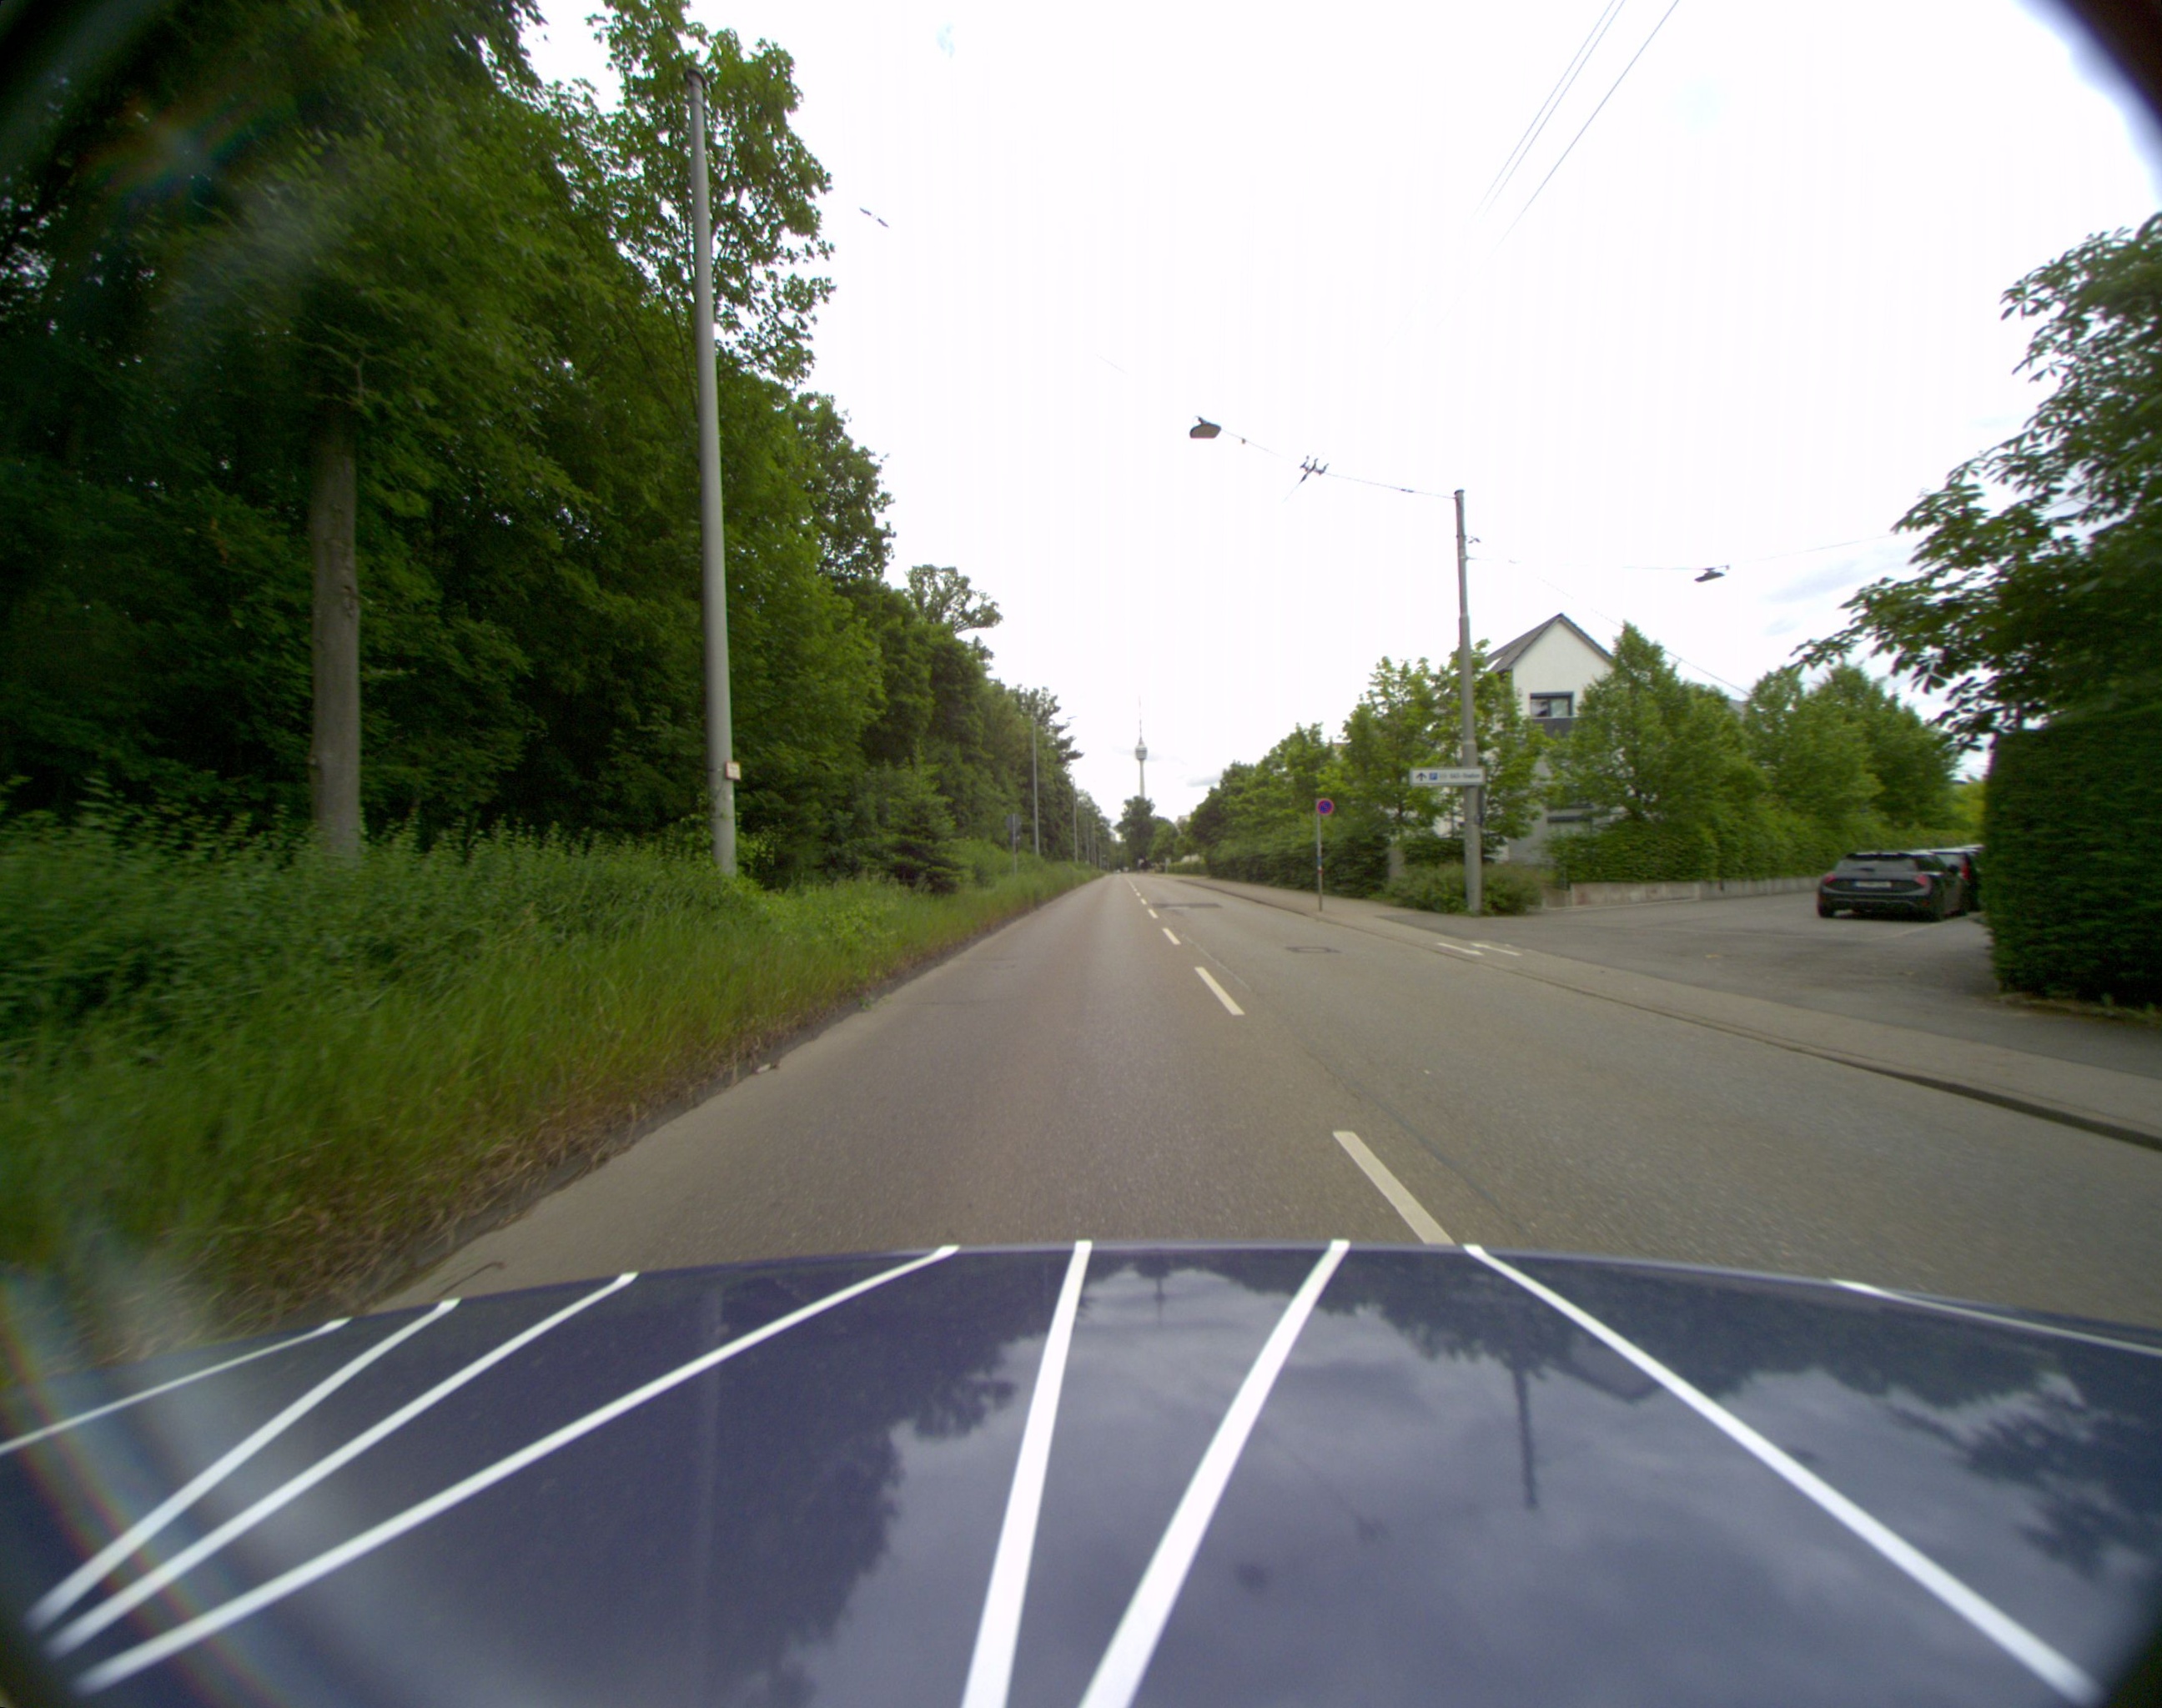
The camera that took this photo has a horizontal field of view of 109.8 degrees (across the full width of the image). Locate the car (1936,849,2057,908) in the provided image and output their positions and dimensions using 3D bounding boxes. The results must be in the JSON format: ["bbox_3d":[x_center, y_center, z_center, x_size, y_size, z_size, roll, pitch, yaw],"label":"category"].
[{"bbox_3d":[26.454,0.663,21.925,4.007,1.514,1.804,-1,0,-34],"label":"car"}]

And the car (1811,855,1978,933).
[{"bbox_3d":[17.504,0.773,16.312,4.007,1.412,1.804,-1,0,-34],"label":"car"}]

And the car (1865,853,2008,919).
[{"bbox_3d":[21.218,0.720,18.815,4.007,1.412,1.804,-1,0,-34],"label":"car"}]
